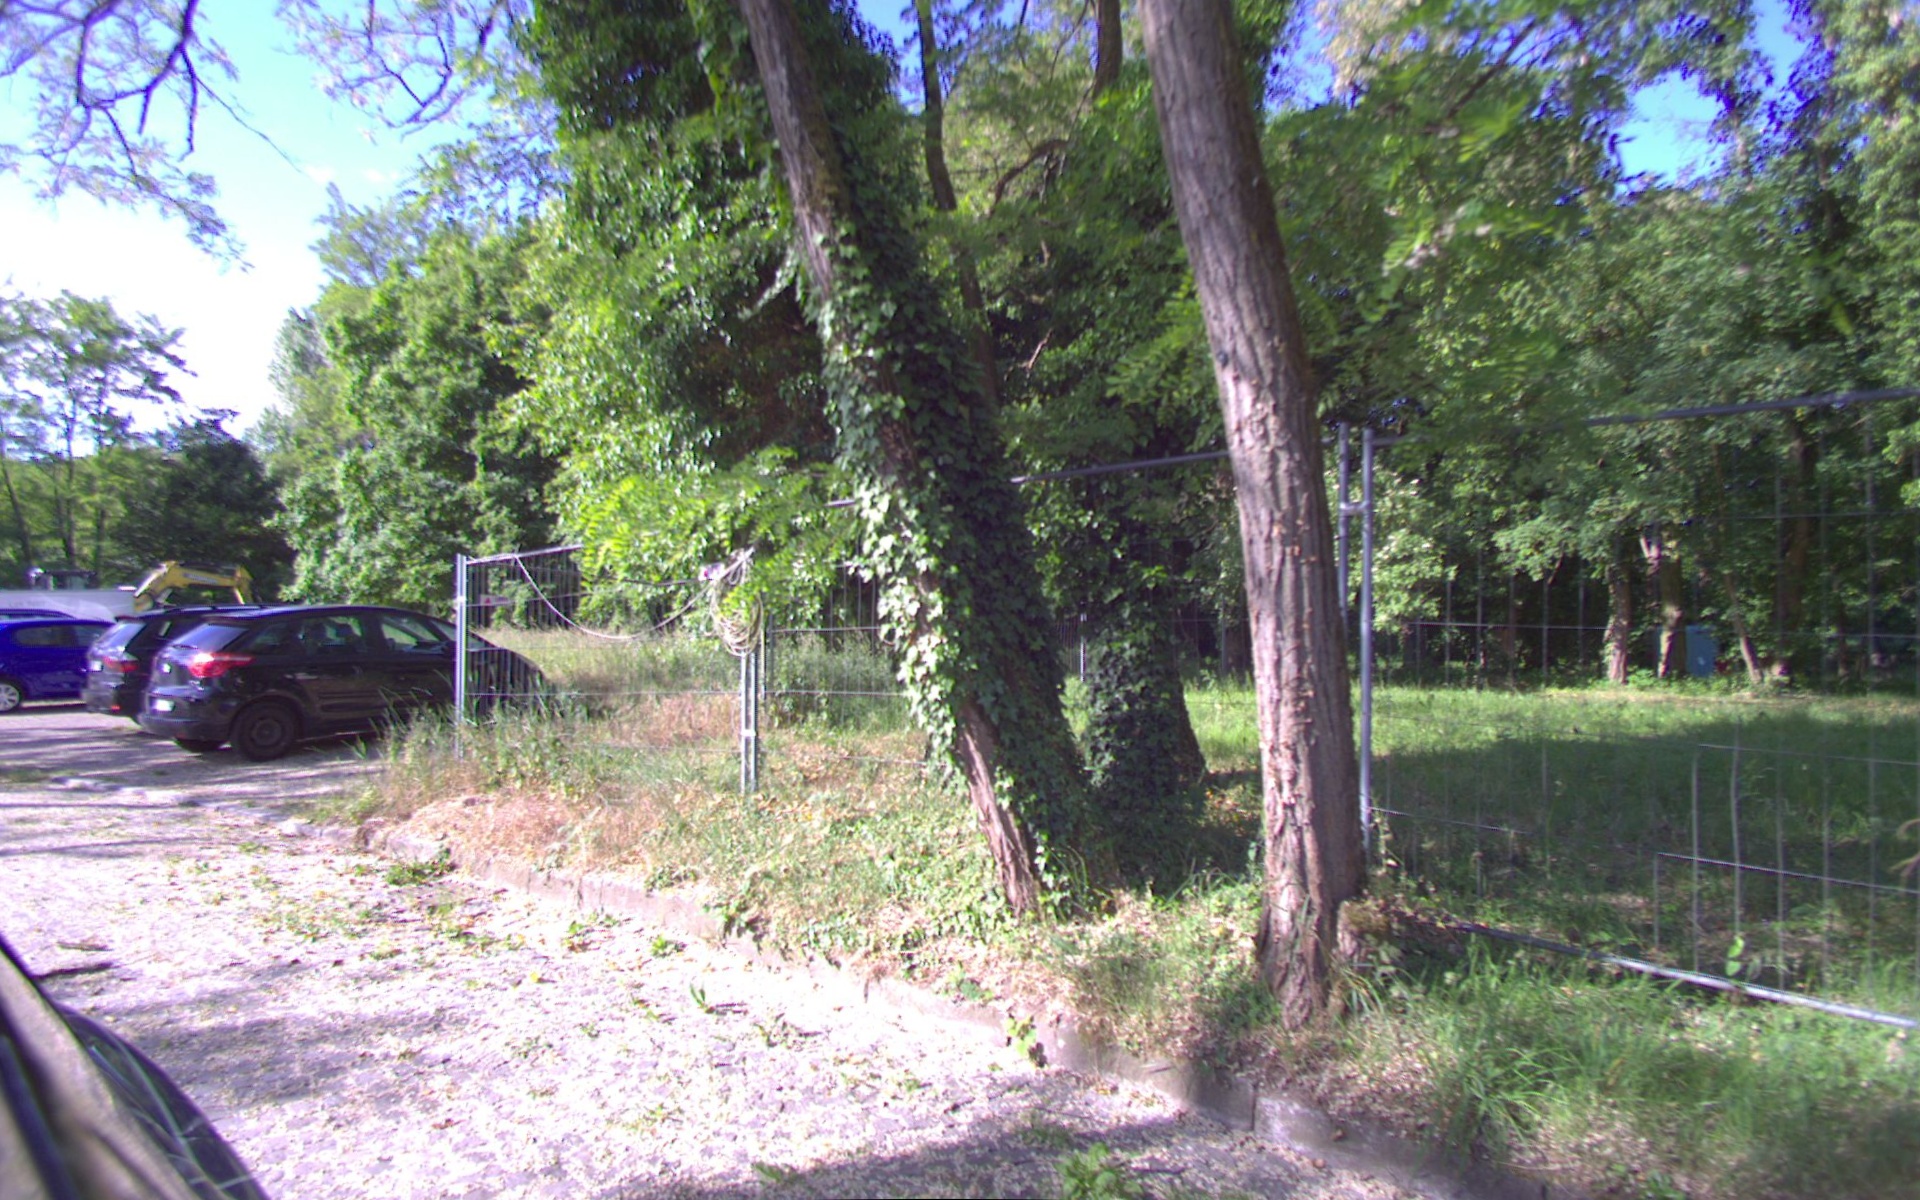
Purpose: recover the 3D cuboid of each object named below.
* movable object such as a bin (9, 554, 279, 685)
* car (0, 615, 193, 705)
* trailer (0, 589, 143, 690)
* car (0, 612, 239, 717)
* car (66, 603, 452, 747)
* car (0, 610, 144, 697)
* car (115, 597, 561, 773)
[{"bbox_3d":[-20.634,0.503,25.802,1.999,2.988,5.093,-2,-2,42],"label":"movable object such as a bin"},{"bbox_3d":[-16.556,1.057,18.557,1.831,1.462,3.617,-1,0,37],"label":"car"},{"bbox_3d":[-20.557,0.846,22.135,1.637,2.109,3.922,-2,0,38],"label":"trailer"},{"bbox_3d":[-14.497,1.022,16.958,1.713,1.504,3.615,-2,0,40],"label":"car"},{"bbox_3d":[-9.705,0.922,14.320,1.814,1.668,4.139,-1,0,36],"label":"car"},{"bbox_3d":[-18.620,1.028,19.867,1.866,1.653,3.770,-2,-1,39],"label":"car"},{"bbox_3d":[-7.270,0.852,12.292,1.788,1.664,4.253,-1,0,33],"label":"car"}]
